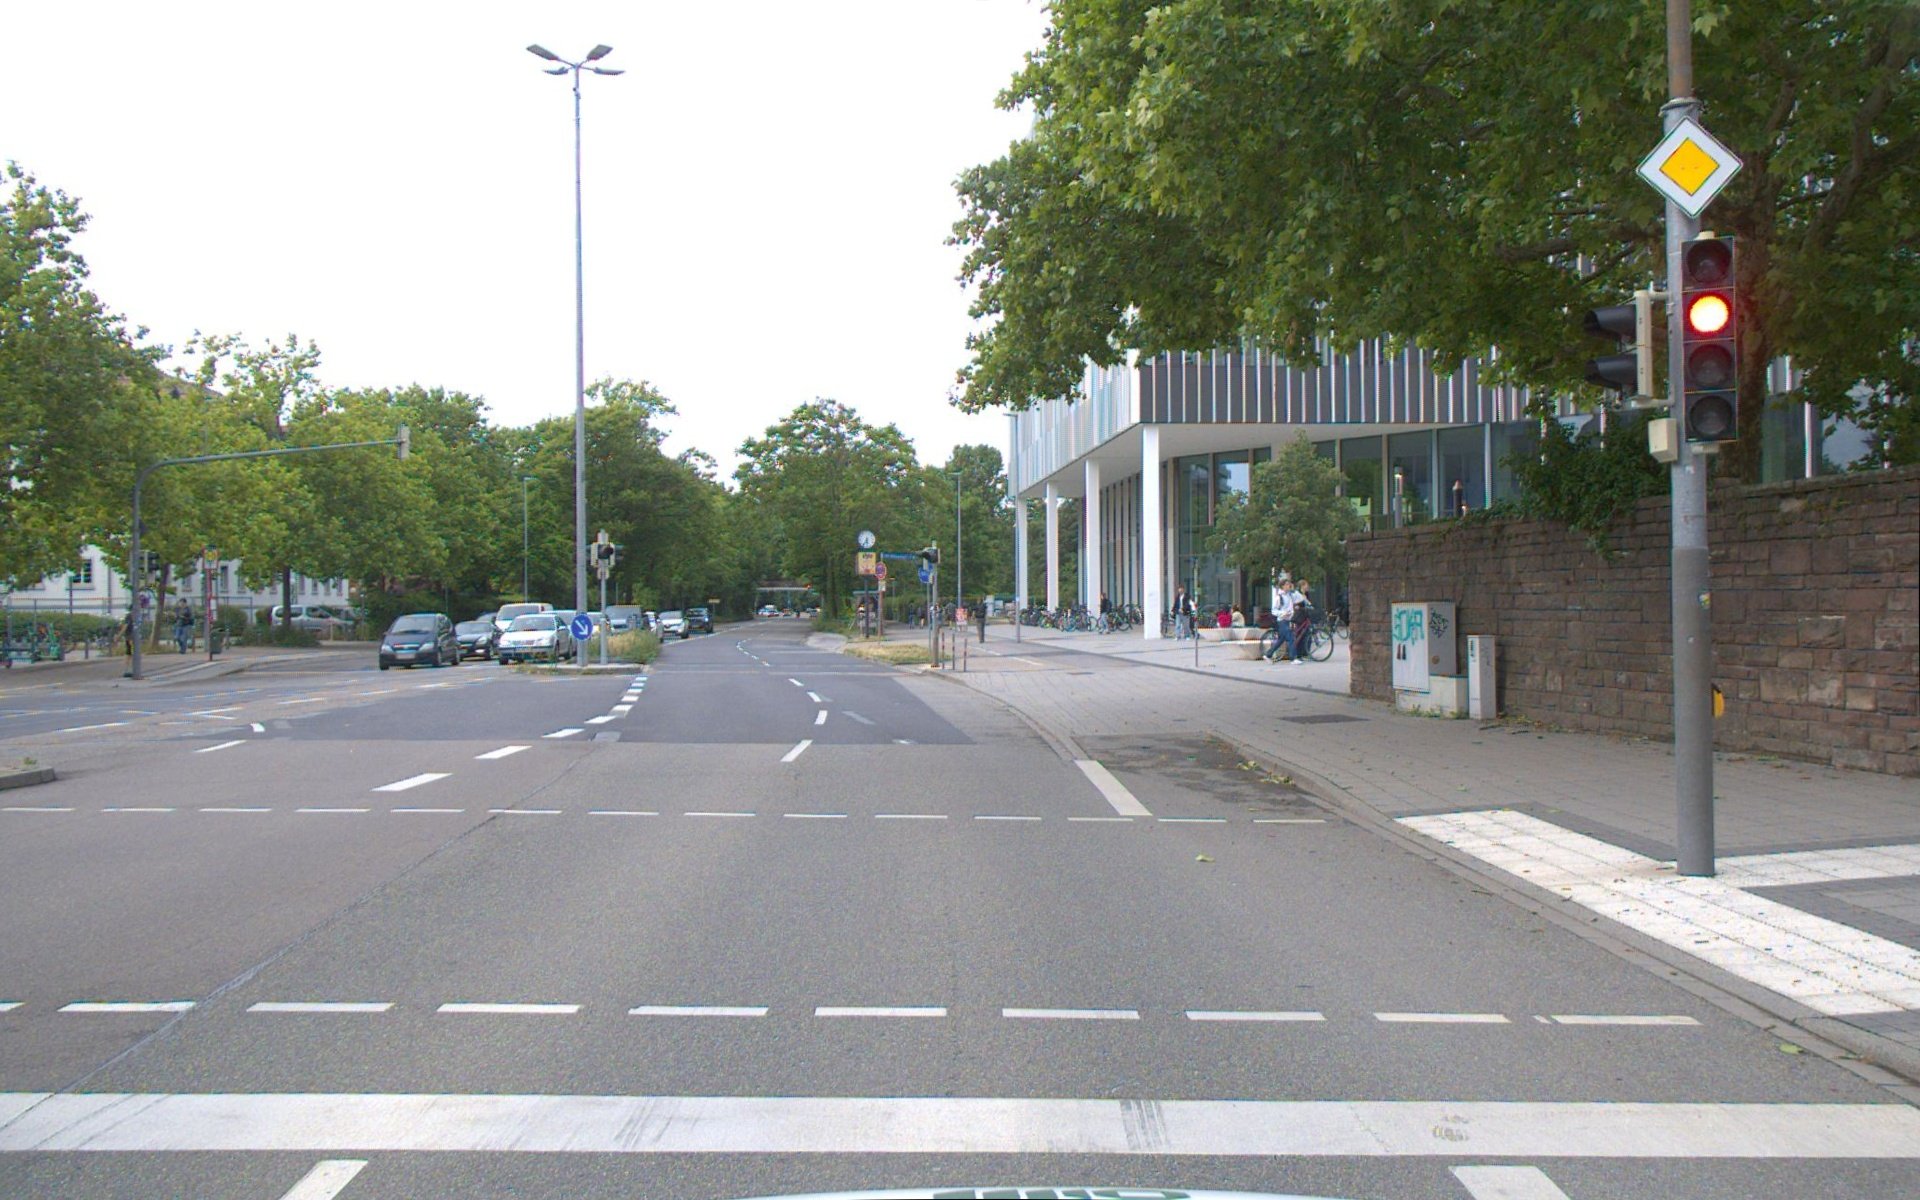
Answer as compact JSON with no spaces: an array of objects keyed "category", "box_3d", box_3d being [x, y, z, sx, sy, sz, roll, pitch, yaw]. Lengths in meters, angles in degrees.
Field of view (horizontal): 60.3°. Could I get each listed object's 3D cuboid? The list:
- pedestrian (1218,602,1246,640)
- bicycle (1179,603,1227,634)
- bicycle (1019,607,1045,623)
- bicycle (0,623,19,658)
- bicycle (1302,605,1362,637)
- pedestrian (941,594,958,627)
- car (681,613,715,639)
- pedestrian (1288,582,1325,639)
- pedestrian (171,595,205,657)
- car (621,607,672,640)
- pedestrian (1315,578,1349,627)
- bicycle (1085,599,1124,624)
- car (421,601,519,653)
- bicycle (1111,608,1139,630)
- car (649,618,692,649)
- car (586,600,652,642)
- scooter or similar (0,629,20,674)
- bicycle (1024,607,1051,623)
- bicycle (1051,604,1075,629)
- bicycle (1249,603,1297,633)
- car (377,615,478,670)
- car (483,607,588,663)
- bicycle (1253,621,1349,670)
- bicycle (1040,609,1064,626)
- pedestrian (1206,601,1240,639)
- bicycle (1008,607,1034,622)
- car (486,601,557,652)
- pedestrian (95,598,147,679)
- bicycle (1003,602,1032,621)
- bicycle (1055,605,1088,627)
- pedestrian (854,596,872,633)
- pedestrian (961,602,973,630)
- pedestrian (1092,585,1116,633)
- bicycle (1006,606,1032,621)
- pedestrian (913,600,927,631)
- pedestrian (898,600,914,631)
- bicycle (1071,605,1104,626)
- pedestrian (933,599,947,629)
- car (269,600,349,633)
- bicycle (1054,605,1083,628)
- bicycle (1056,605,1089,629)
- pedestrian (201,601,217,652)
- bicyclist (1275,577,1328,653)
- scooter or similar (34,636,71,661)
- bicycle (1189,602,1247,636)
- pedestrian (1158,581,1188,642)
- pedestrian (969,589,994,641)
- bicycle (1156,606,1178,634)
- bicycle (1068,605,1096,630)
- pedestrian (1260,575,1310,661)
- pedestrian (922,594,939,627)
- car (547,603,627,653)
[{"category":"pedestrian","box_3d":[9.031,0.690,54.896,0.872,1.214,0.846,-1,0,9]},{"category":"bicycle","box_3d":[9.200,0.701,62.644,0.723,1.135,2.170,-1,0,42]},{"category":"bicycle","box_3d":[4.452,0.920,102.148,1.575,0.890,0.556,-2,0,-4]},{"category":"bicycle","box_3d":[-33.170,1.397,56.149,2.002,1.173,0.716,-1,0,-23]},{"category":"bicycle","box_3d":[12.848,0.722,57.135,2.166,1.023,0.772,-1,-1,-35]},{"category":"pedestrian","box_3d":[-0.654,0.658,103.273,0.907,2.049,1.038,-1,0,-6]},{"category":"car","box_3d":[-17.574,1.739,110.974,1.866,1.621,4.512,-1,0,-5]},{"category":"pedestrian","box_3d":[11.597,0.346,55.411,0.838,1.868,0.881,-1,-1,-42]},{"category":"pedestrian","box_3d":[-25.589,0.855,54.850,0.787,2.049,0.923,1,-1,-11]},{"category":"car","box_3d":[-14.875,1.110,78.685,1.866,1.491,4.906,1,0,-5]},{"category":"pedestrian","box_3d":[16.107,0.104,71.627,1.158,2.098,1.134,1,-1,26]},{"category":"bicycle","box_3d":[7.484,0.599,85.594,1.948,1.164,0.646,-3,0,37]},{"category":"car","box_3d":[-16.279,0.867,55.135,1.952,1.648,4.001,-1,0,2]},{"category":"bicycle","box_3d":[7.501,0.848,75.305,1.477,0.945,0.433,-2,2,-44]},{"category":"car","box_3d":[-16.148,1.858,92.438,1.955,1.574,4.175,-2,0,-5]},{"category":"car","box_3d":[-14.613,0.878,71.109,1.953,1.717,4.946,1,0,-2]},{"category":"scooter or similar","box_3d":[-25.377,1.371,43.741,0.353,1.160,1.318,-1,0,-4]},{"category":"bicycle","box_3d":[4.722,0.905,100.979,1.575,0.890,0.556,-2,0,-4]},{"category":"bicycle","box_3d":[4.959,0.777,79.534,0.624,1.160,2.196,-4,0,-9]},{"category":"bicycle","box_3d":[11.246,0.656,59.469,0.761,1.019,1.947,-1,0,43]},{"category":"car","box_3d":[-15.666,1.219,48.847,1.815,1.489,3.696,-1,0,-1]},{"category":"car","box_3d":[-12.770,1.022,50.006,1.952,1.556,4.275,-1,0,2]},{"category":"bicycle","box_3d":[7.589,1.007,36.844,1.936,1.036,0.793,1,0,35]},{"category":"bicycle","box_3d":[5.012,0.941,90.108,1.258,0.890,0.556,-2,0,-4]},{"category":"pedestrian","box_3d":[8.639,0.653,54.264,0.826,1.227,0.893,-1,0,29]},{"category":"bicycle","box_3d":[3.843,0.903,103.705,1.575,0.890,0.556,-2,0,-4]},{"category":"car","box_3d":[-17.183,1.007,64.968,1.736,1.880,4.486,1,0,-3]},{"category":"pedestrian","box_3d":[-21.567,0.983,42.527,0.877,2.049,1.008,-1,0,-7]},{"category":"bicycle","box_3d":[3.729,0.740,106.660,1.760,1.100,0.625,-3,0,-7]},{"category":"bicycle","box_3d":[5.638,0.812,83.762,1.575,0.999,0.556,-4,0,-5]},{"category":"pedestrian","box_3d":[-5.556,0.809,94.667,0.895,2.048,0.853,-3,2,-6]},{"category":"pedestrian","box_3d":[0.428,0.995,103.788,0.714,1.713,0.747,1,-1,-1]},{"category":"pedestrian","box_3d":[6.266,0.393,71.957,0.874,2.049,0.845,-1,0,-4]},{"category":"bicycle","box_3d":[3.752,0.826,104.659,1.575,0.890,0.556,-2,0,-4]},{"category":"pedestrian","box_3d":[-2.701,1.033,111.749,0.809,2.049,0.719,-1,0,-9]},{"category":"pedestrian","box_3d":[-3.678,1.033,112.029,0.908,2.049,1.037,-1,0,-9]},{"category":"bicycle","box_3d":[6.337,0.780,82.335,1.572,0.952,0.569,-3,0,6]},{"category":"pedestrian","box_3d":[-1.348,0.940,112.285,0.808,2.049,0.719,-1,0,-6]},{"category":"car","box_3d":[-33.678,0.840,85.602,3.517,1.630,1.649,1,0,-7]},{"category":"bicycle","box_3d":[5.460,0.823,83.176,1.373,1.062,0.558,-3,0,-4]},{"category":"bicycle","box_3d":[5.795,0.884,85.362,1.610,1.110,0.572,-4,0,4]},{"category":"pedestrian","box_3d":[-26.377,0.938,58.089,0.412,1.769,0.433,1,-1,-11]},{"category":"bicyclist","box_3d":[7.624,0.328,36.917,0.950,1.674,0.733,1,-1,35]},{"category":"scooter or similar","box_3d":[-27.126,1.437,49.445,0.398,0.706,1.288,1,0,-2]},{"category":"bicycle","box_3d":[9.572,0.694,61.270,0.761,1.208,2.702,-1,0,43]},{"category":"pedestrian","box_3d":[7.316,0.399,56.872,0.826,2.049,0.894,-1,0,-3]},{"category":"pedestrian","box_3d":[0.848,0.595,65.848,0.826,2.049,0.894,-3,0,-3]},{"category":"bicycle","box_3d":[8.091,0.772,64.700,0.625,1.080,1.840,1,0,0]},{"category":"bicycle","box_3d":[5.669,0.820,76.783,0.598,1.099,1.954,-3,0,-16]},{"category":"pedestrian","box_3d":[7.018,0.393,35.733,0.768,1.827,0.786,-1,0,38]},{"category":"pedestrian","box_3d":[-1.844,0.650,103.258,0.908,2.049,1.037,-1,0,-9]},{"category":"car","box_3d":[-13.113,0.947,58.396,1.918,1.611,4.254,-2,1,-2]}]
